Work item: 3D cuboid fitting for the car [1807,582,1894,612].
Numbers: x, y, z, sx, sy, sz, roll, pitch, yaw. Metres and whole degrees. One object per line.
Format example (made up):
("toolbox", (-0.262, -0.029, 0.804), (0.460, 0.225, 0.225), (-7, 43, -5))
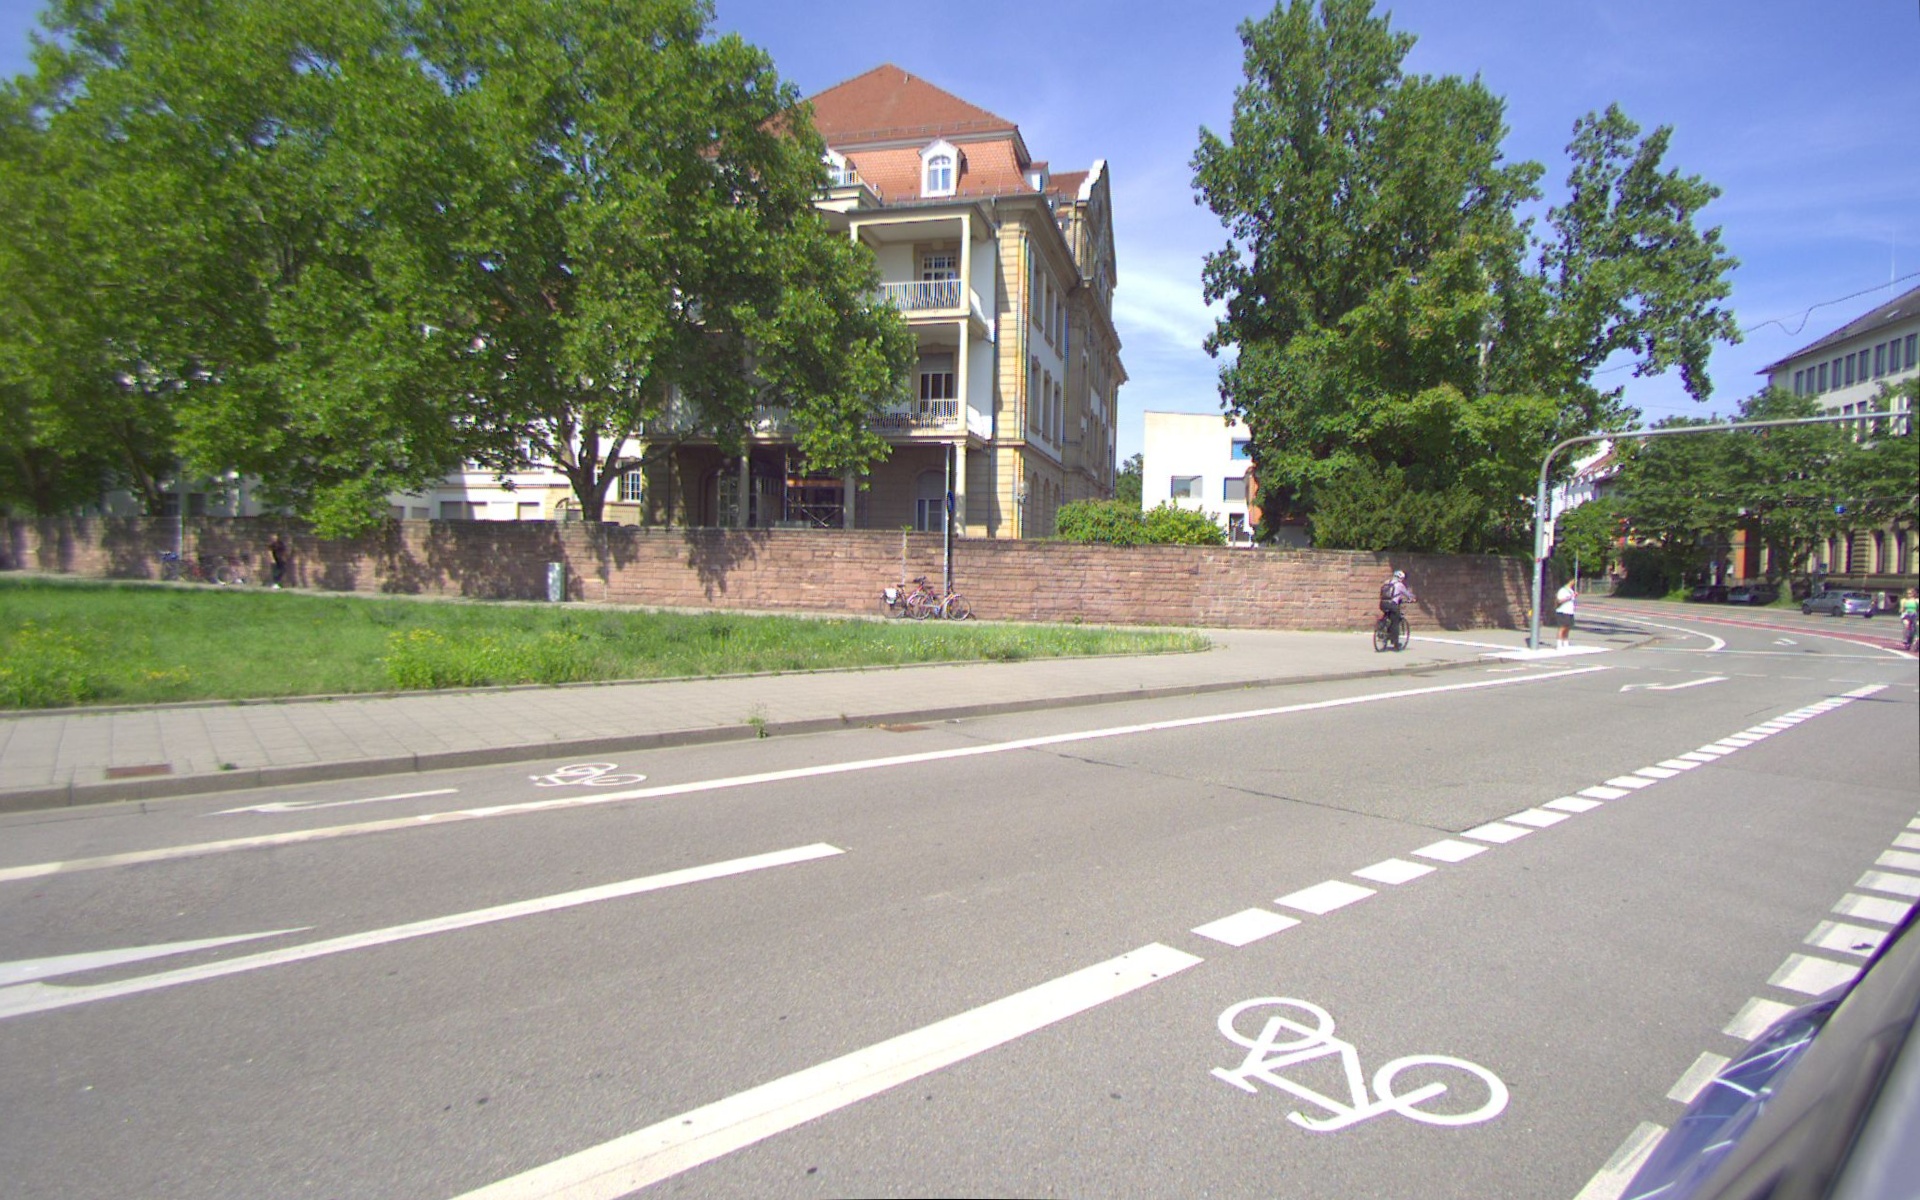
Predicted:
("car", (48.862, -0.197, 55.644), (1.772, 1.429, 3.987), (3, 3, 12))

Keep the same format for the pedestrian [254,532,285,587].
("pedestrian", (-22.637, -1.330, 33.163), (0.592, 1.761, 0.616), (2, 2, 20))

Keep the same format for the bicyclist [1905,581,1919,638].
("bicyclist", (26.886, 0.264, 28.219), (0.583, 1.567, 0.922), (0, 1, 30))

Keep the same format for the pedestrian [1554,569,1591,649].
("pedestrian", (15.135, 0.198, 25.010), (0.649, 1.897, 0.788), (4, 3, 31))

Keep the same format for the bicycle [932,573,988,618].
("bicycle", (0.000, -0.110, 26.764), (1.406, 1.136, 0.350), (1, 2, -6))

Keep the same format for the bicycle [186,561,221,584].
("bicycle", (-26.170, -0.955, 35.015), (1.350, 0.737, 0.338), (3, 2, 23))

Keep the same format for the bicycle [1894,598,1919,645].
("bicycle", (26.942, 0.605, 28.313), (0.680, 1.237, 2.163), (3, 2, 30))

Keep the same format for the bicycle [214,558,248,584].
("bicycle", (-24.788, -0.991, 34.419), (1.294, 0.866, 0.369), (3, 2, 25))

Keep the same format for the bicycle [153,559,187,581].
("bicycle", (-27.774, -1.062, 35.564), (1.350, 0.737, 0.338), (3, 2, 23))

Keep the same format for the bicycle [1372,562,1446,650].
("bicycle", (9.577, 0.112, 21.569), (1.779, 1.787, 0.679), (0, 2, -41))

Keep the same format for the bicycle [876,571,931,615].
("bicycle", (-1.480, -0.179, 26.677), (1.406, 1.136, 0.350), (1, 2, -27))

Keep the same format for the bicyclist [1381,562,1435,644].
("bicyclist", (9.536, 0.048, 21.525), (0.903, 1.675, 0.679), (0, 2, -41))

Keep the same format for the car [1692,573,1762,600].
("car", (62.186, -1.120, 82.159), (3.941, 2.038, 1.992), (2, 2, 14))

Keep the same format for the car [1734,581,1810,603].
("car", (61.238, -0.605, 76.386), (3.941, 1.482, 1.992), (2, 2, 14))
